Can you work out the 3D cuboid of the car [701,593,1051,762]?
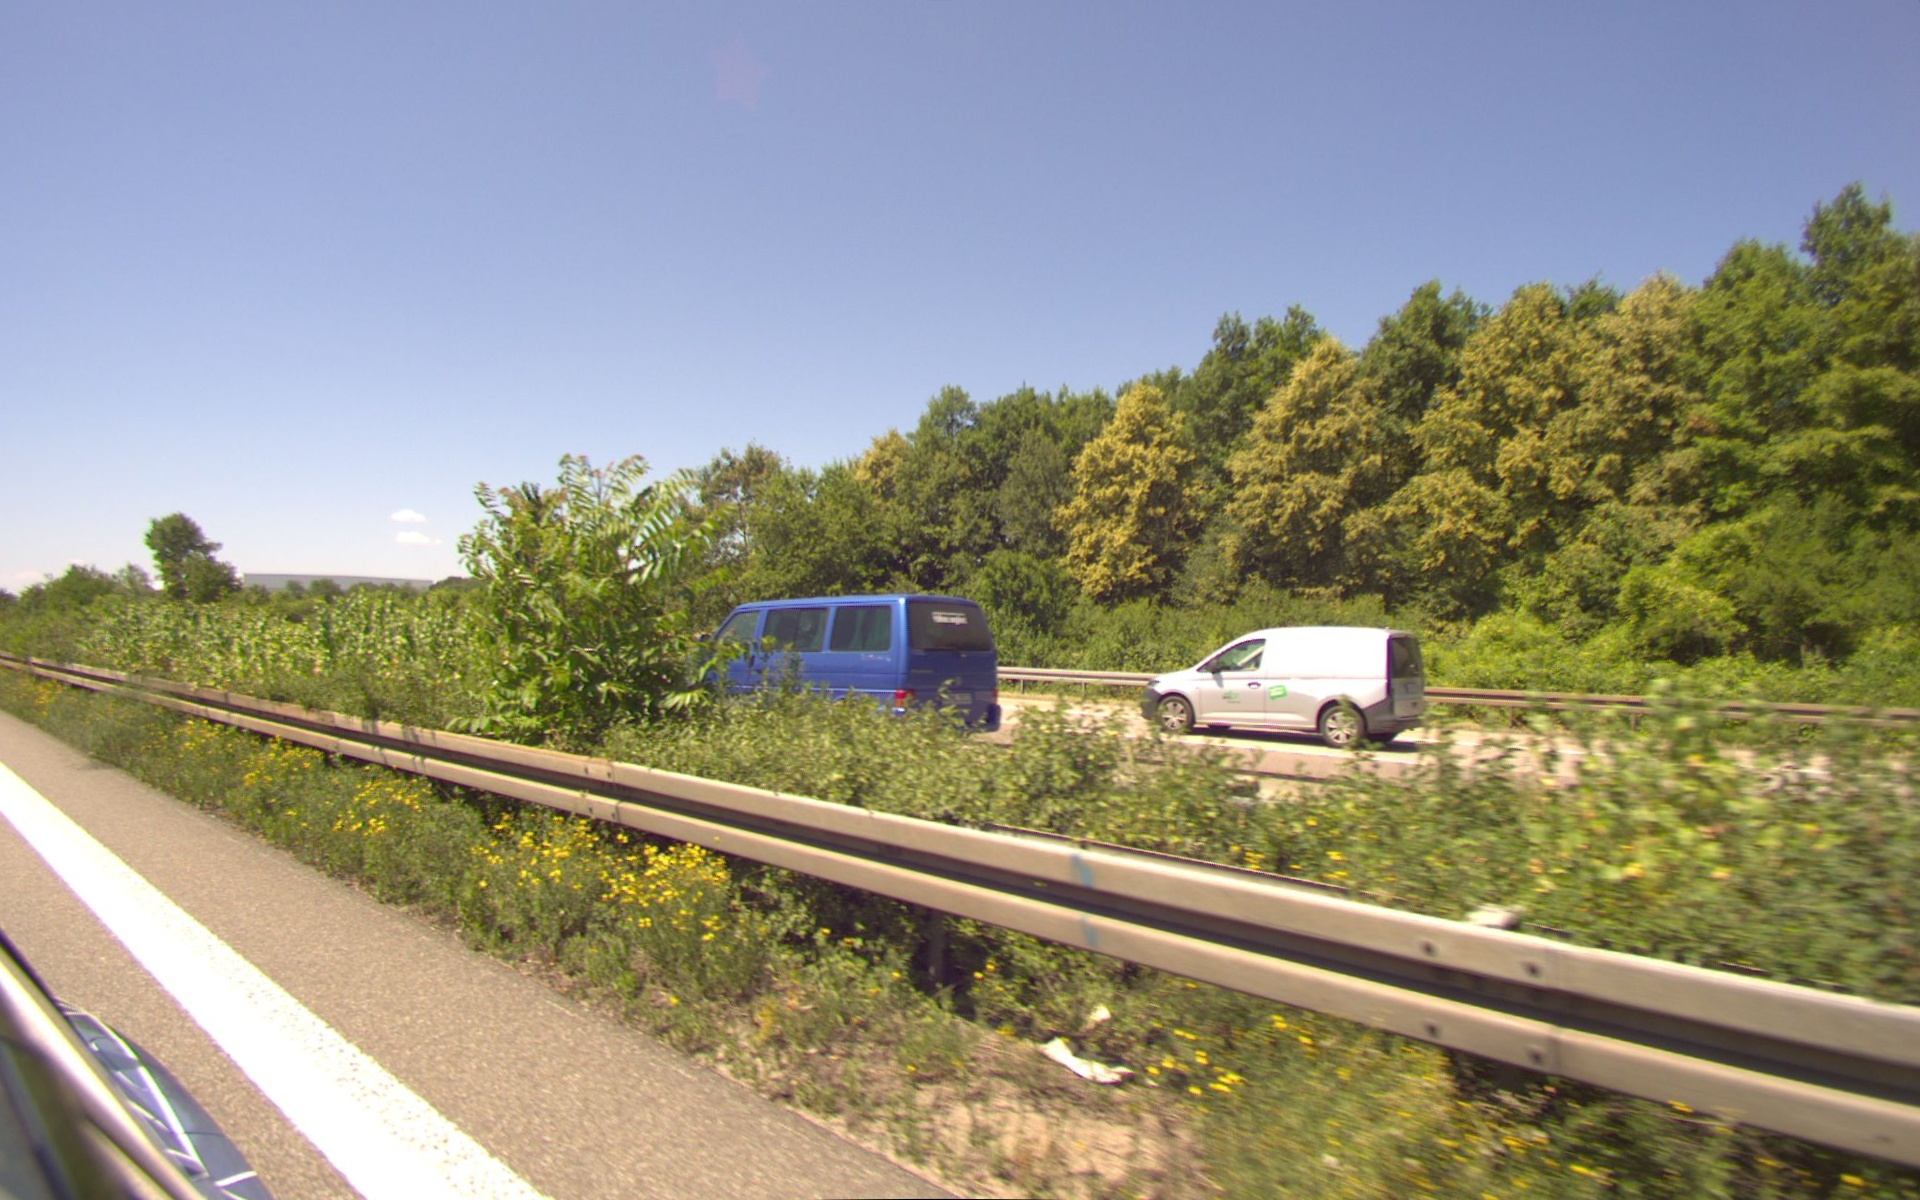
[{"bbox_3d":[-1.101,0.817,12.053,3.998,1.663,1.930,-1,-3,41],"label":"car"}]

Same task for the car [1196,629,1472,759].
[{"bbox_3d":[5.724,1.352,15.679,3.623,1.770,1.775,-1,-3,41],"label":"car"}]
